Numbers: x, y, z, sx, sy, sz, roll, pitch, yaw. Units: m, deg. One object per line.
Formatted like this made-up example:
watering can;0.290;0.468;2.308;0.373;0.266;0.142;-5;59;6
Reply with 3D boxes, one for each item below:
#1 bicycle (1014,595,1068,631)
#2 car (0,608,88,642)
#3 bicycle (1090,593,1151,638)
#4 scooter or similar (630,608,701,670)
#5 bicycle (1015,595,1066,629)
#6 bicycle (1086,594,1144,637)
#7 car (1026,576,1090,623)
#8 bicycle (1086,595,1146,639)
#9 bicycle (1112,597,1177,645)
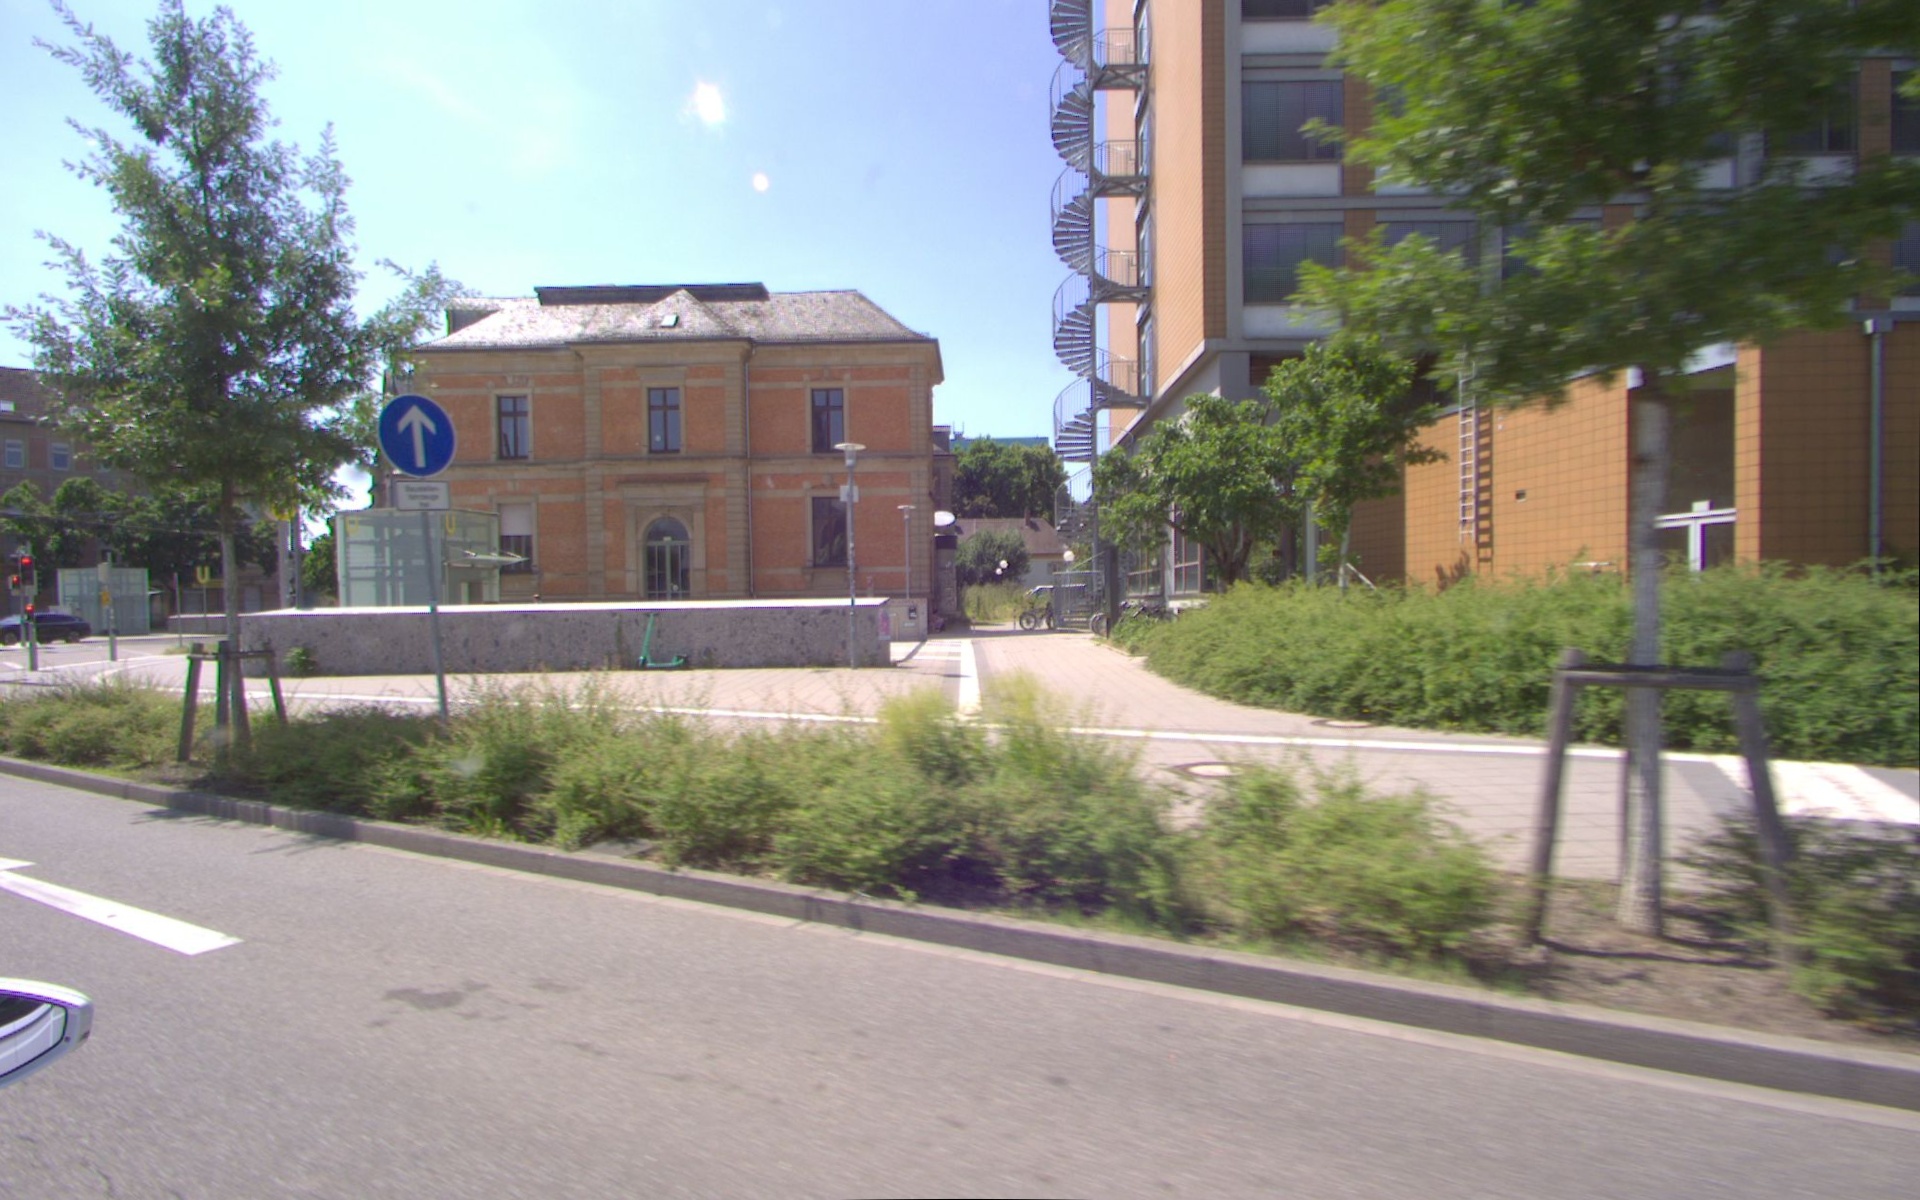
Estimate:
bicycle;3.190;0.509;39.603;2.068;1.379;0.767;1;1;4
car;-43.737;1.142;46.993;1.665;1.470;4.111;2;0;12
bicycle;4.956;0.470;31.013;1.780;1.347;0.497;1;1;2
scooter or similar;-5.804;0.763;19.746;1.265;1.183;0.397;1;1;9
bicycle;3.258;0.482;40.746;2.036;1.320;0.767;1;1;4
bicycle;5.036;0.511;32.562;1.780;1.347;0.497;1;1;2
car;5.782;-0.022;58.948;3.658;2.680;1.166;1;1;7
bicycle;4.933;0.526;31.668;1.780;1.347;0.497;1;1;2
bicycle;5.349;0.611;29.072;1.780;1.347;0.497;1;1;2
